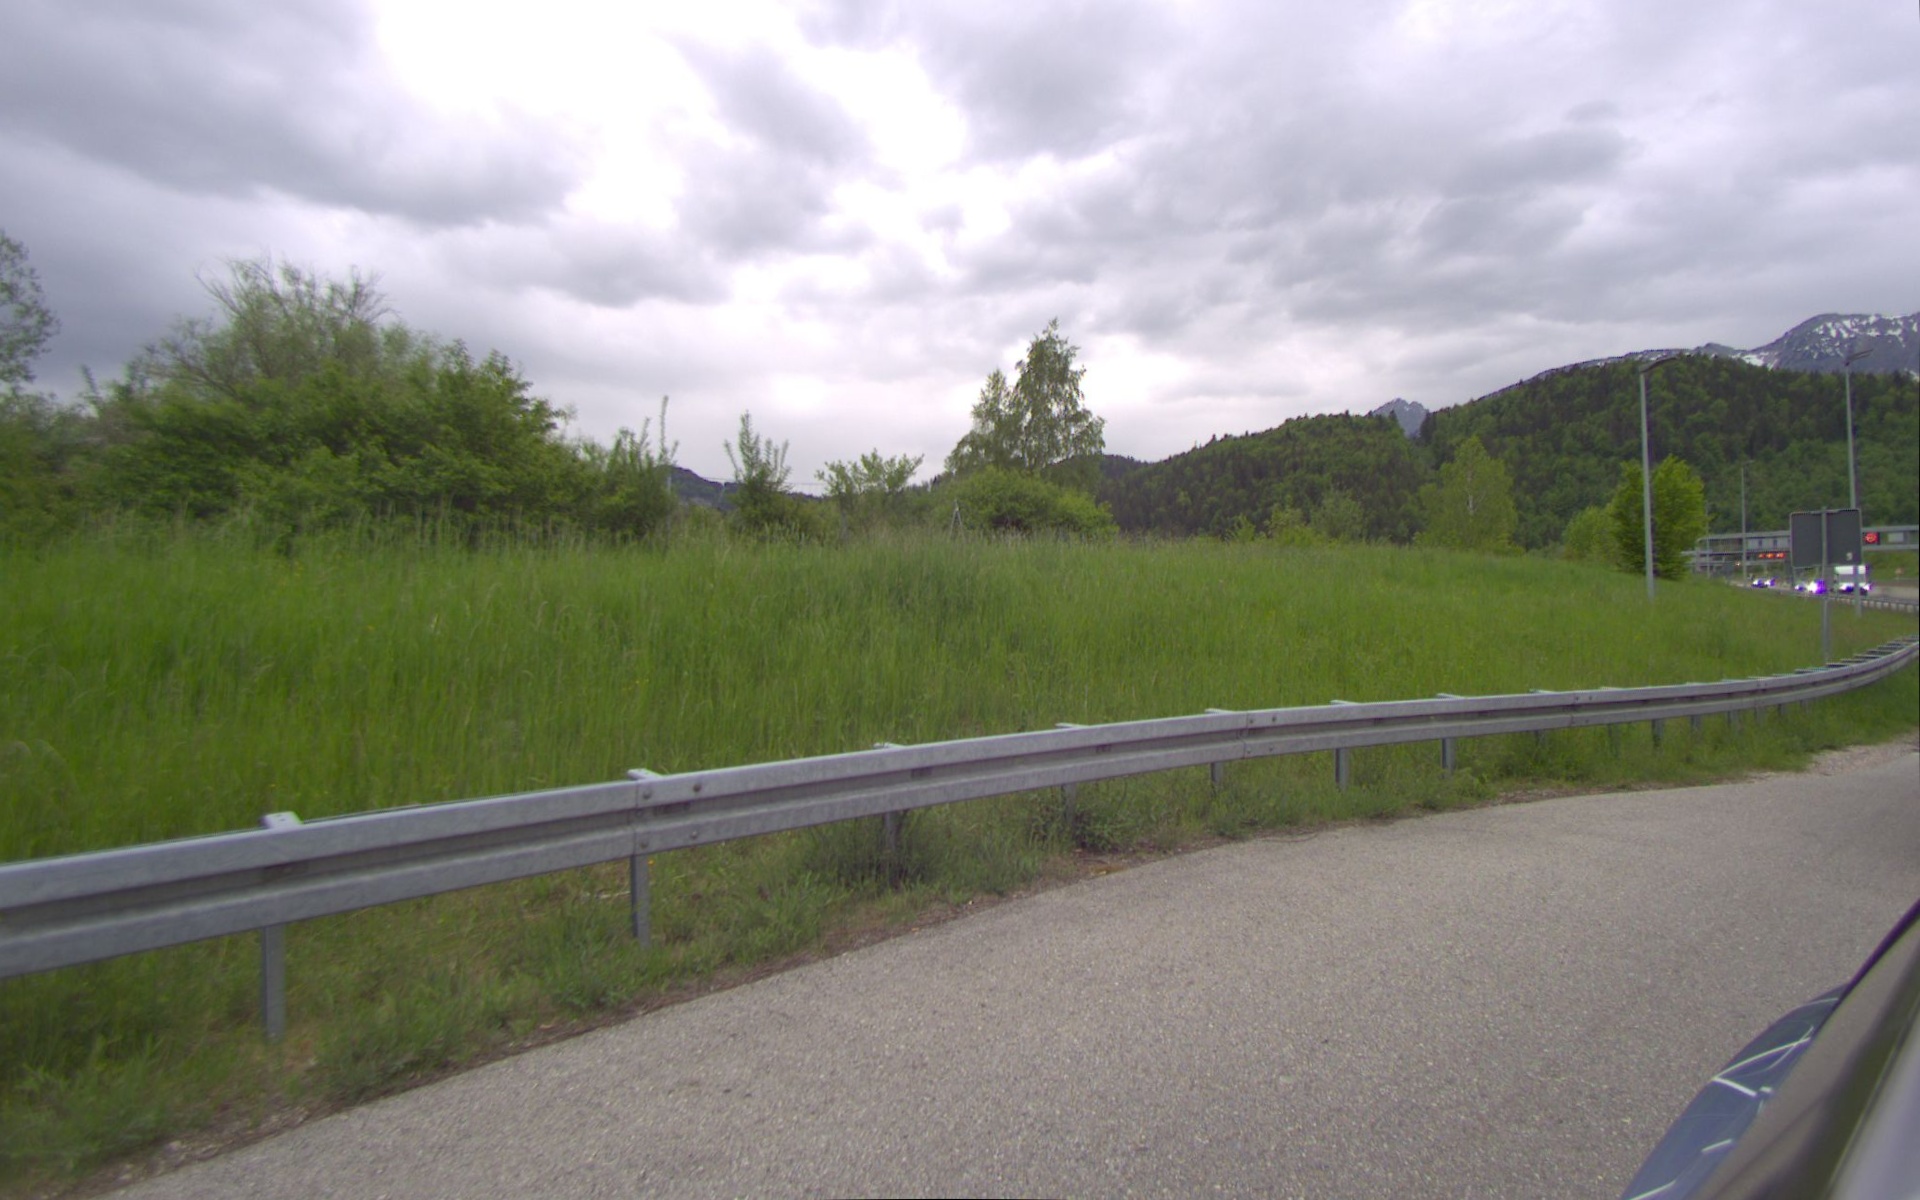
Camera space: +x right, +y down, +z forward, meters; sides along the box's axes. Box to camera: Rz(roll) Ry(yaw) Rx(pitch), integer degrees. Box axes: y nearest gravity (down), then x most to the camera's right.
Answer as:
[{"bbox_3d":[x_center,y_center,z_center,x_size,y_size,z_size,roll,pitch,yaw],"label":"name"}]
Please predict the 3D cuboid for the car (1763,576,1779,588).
[{"bbox_3d":[129.580,-2.887,161.736,1.858,1.895,3.946,1,1,37],"label":"car"}]

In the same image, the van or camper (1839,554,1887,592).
[{"bbox_3d":[84.437,-2.503,94.781,2.568,3.434,7.261,1,1,36],"label":"van or camper"}]

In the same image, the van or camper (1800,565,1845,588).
[{"bbox_3d":[103.332,-2.806,121.333,3.322,2.677,8.097,1,1,35],"label":"van or camper"}]

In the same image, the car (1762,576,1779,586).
[{"bbox_3d":[130.370,-3.083,162.833,1.710,1.659,4.296,1,1,34],"label":"car"}]
